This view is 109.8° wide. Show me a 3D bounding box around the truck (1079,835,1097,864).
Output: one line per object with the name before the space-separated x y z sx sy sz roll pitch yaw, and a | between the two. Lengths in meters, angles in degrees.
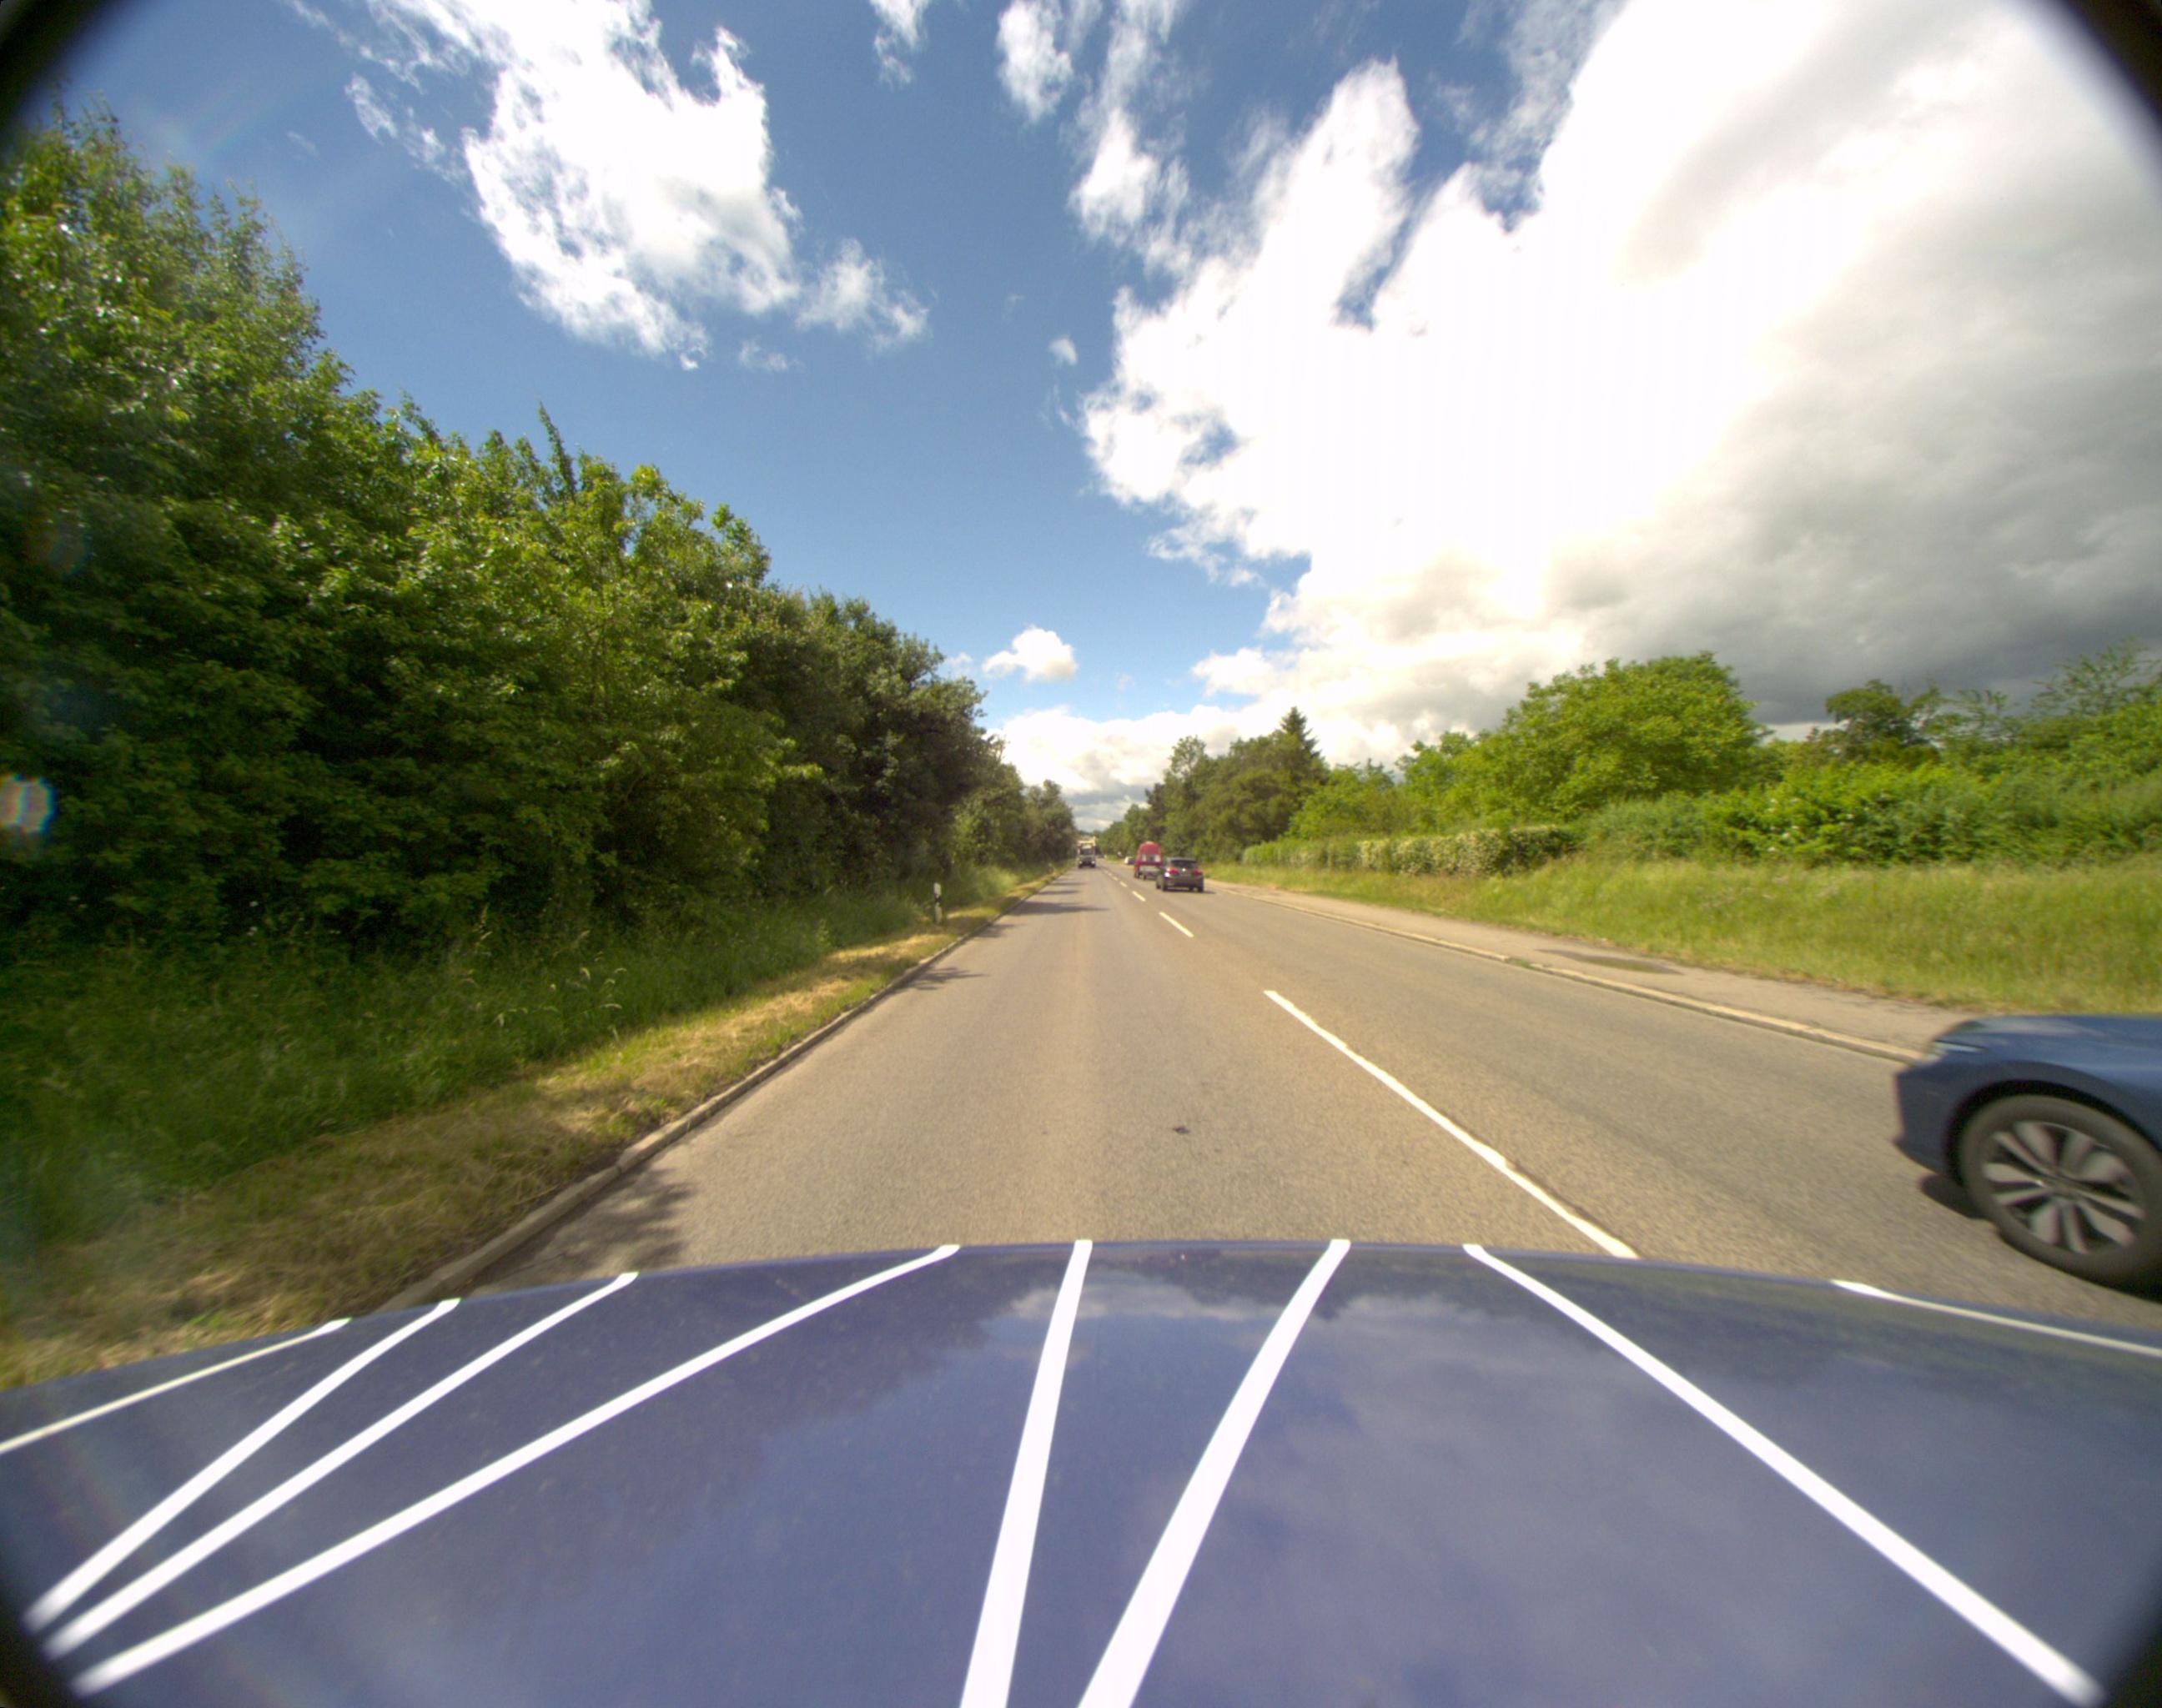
truck | 0.966 -0.607 108.538 2.306 3.790 8.183 -2 0 0

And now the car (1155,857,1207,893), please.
car | 4.448 0.904 34.287 1.720 1.462 4.000 2 0 0

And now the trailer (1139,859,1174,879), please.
trailer | 4.967 0.987 50.276 1.896 1.193 3.917 2 0 0

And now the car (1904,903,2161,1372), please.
car | 4.343 0.942 0.928 1.789 1.438 4.452 1 0 -1

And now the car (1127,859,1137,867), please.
car | 8.964 1.552 134.094 1.772 1.399 4.266 -2 0 3

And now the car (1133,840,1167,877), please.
car | 4.924 0.318 54.755 1.974 2.535 4.725 2 0 0

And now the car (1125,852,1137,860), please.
car | 9.355 0.336 141.720 1.772 1.461 4.245 -2 0 -1
